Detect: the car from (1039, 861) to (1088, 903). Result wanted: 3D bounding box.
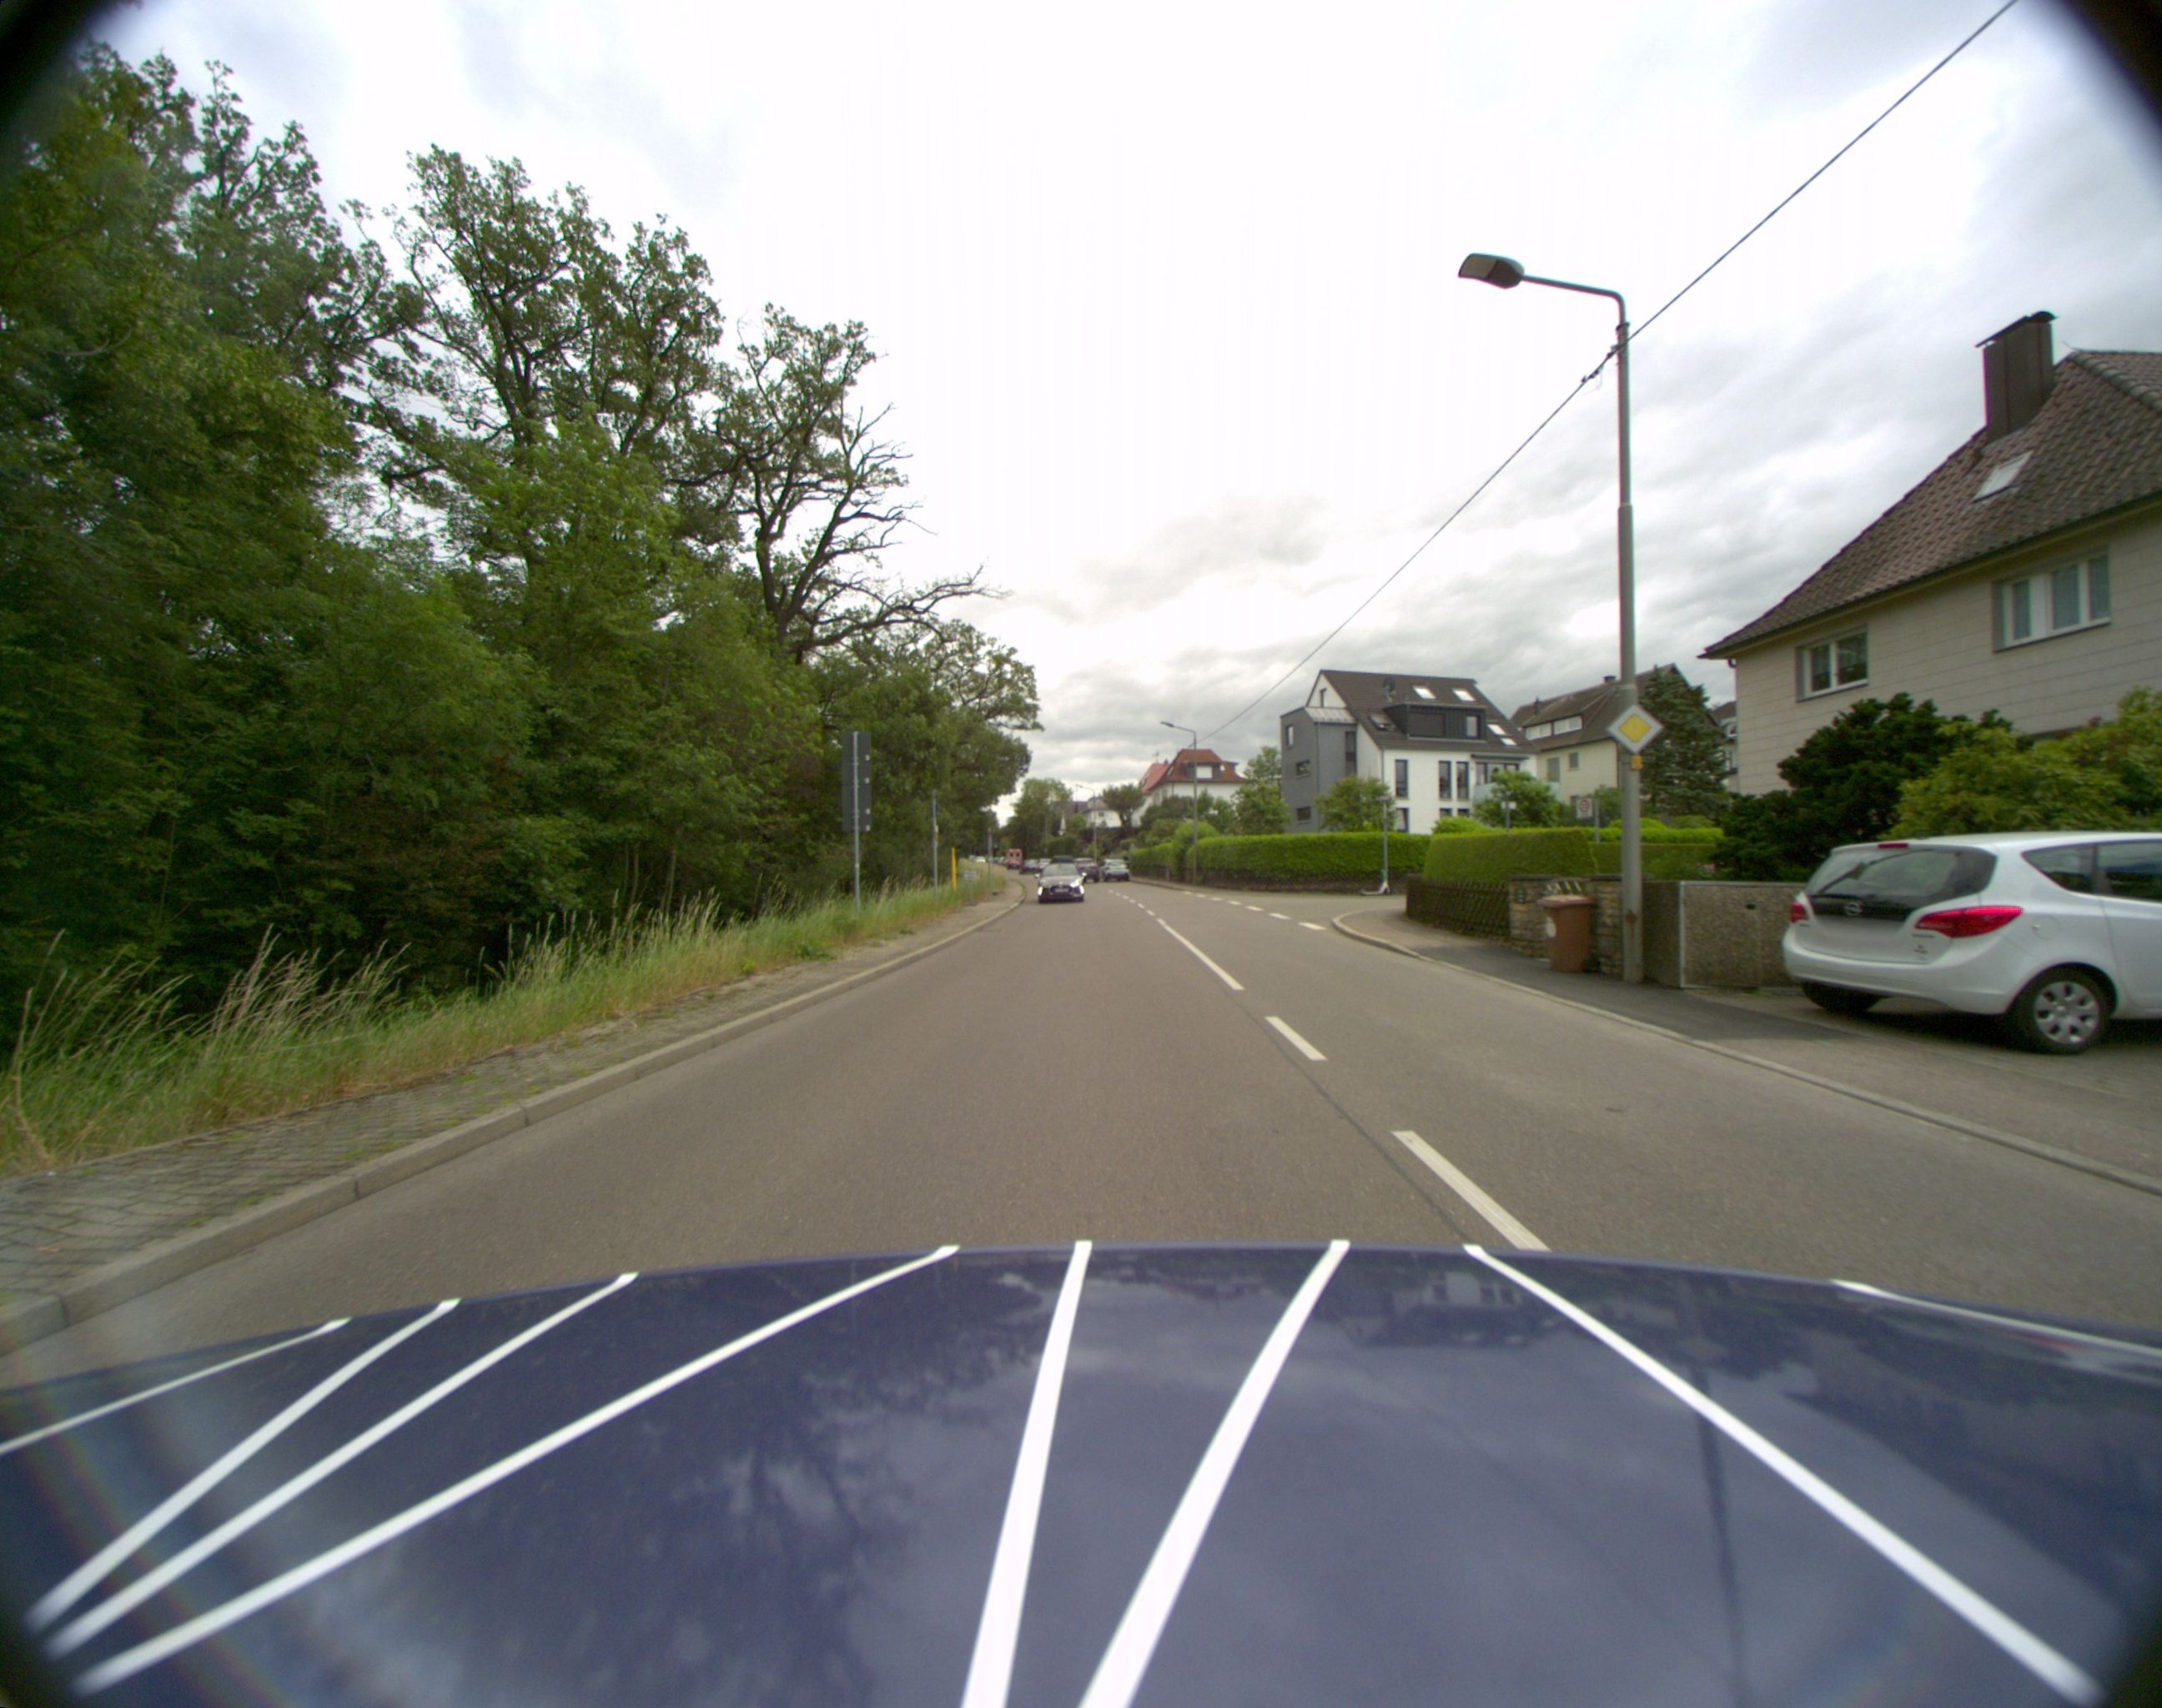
[{"bbox_3d":[-0.623,1.034,29.432,1.730,1.449,3.855,-2,0,1],"label":"car"}]

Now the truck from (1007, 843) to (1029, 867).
[{"bbox_3d":[-10.234,0.214,123.099,3.008,3.618,7.083,-3,0,-8],"label":"truck"}]

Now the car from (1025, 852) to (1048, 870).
[{"bbox_3d":[-4.546,0.713,77.444,2.000,1.749,3.997,-1,0,-9],"label":"car"}]

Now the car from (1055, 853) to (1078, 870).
[{"bbox_3d":[-1.486,0.737,75.732,1.876,1.569,3.997,-1,0,-7],"label":"car"}]

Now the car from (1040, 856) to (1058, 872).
[{"bbox_3d":[-3.769,1.156,89.142,1.833,1.665,3.996,-1,1,-7],"label":"car"}]

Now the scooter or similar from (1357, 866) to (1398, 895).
[{"bbox_3d":[11.937,1.053,30.601,1.454,1.095,0.455,-1,3,1],"label":"scooter or similar"}]

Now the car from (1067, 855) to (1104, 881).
[{"bbox_3d":[0.251,0.876,49.414,1.819,1.590,3.953,-2,0,-8],"label":"car"}]

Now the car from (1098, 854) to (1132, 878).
[{"bbox_3d":[2.255,0.779,51.669,1.840,1.514,3.998,-1,0,-5],"label":"car"}]

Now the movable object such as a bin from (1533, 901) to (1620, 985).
[{"bbox_3d":[6.018,1.067,9.261,0.689,0.948,0.572,-1,0,2],"label":"movable object such as a bin"}]

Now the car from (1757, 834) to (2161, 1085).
[{"bbox_3d":[8.223,0.700,6.090,3.997,1.584,1.718,-3,0,1],"label":"car"}]
